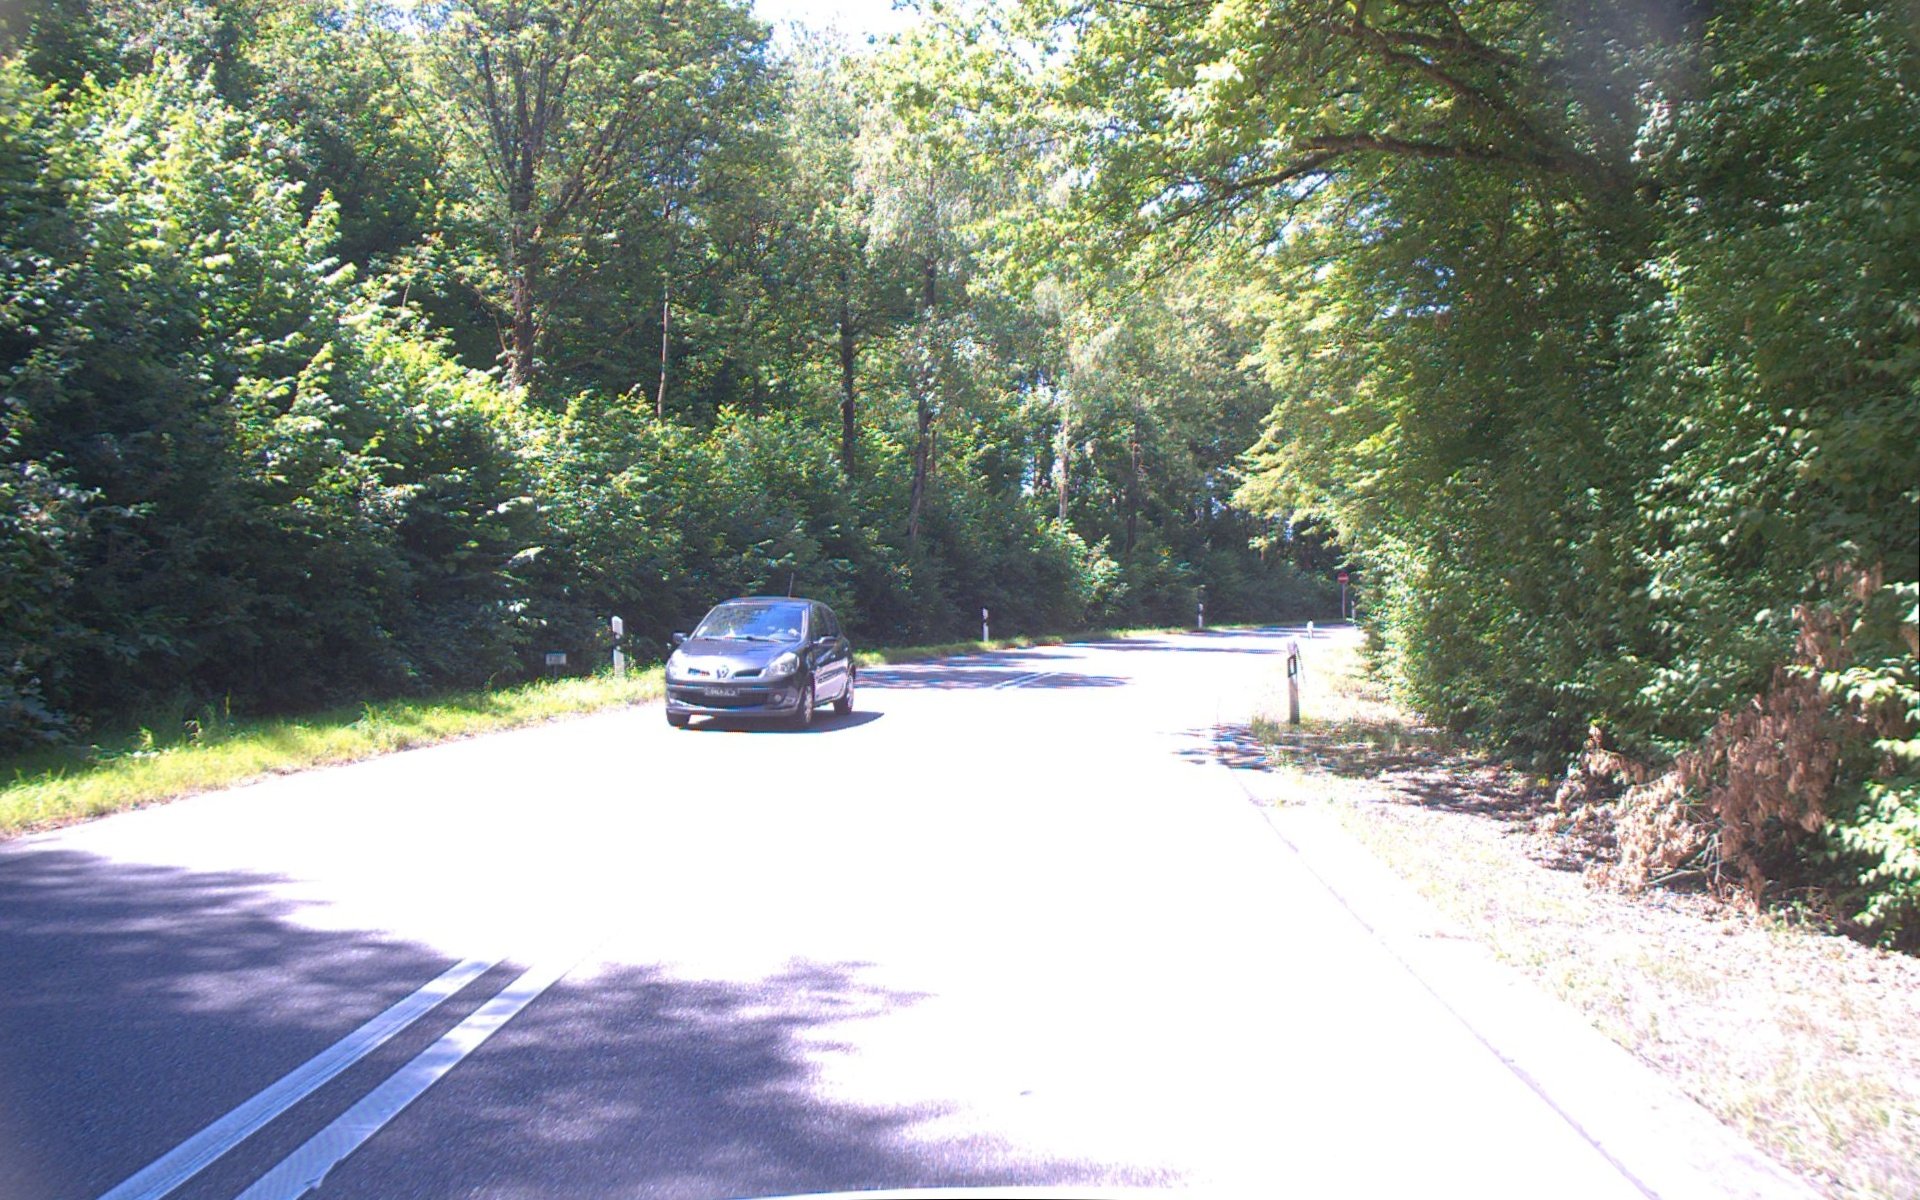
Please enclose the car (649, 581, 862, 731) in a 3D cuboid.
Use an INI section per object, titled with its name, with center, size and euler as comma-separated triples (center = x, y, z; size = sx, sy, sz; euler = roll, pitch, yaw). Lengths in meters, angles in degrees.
[car]
center = -2.353, 0.634, 19.983
size = 1.641, 1.601, 3.897
euler = -1, -1, 7
